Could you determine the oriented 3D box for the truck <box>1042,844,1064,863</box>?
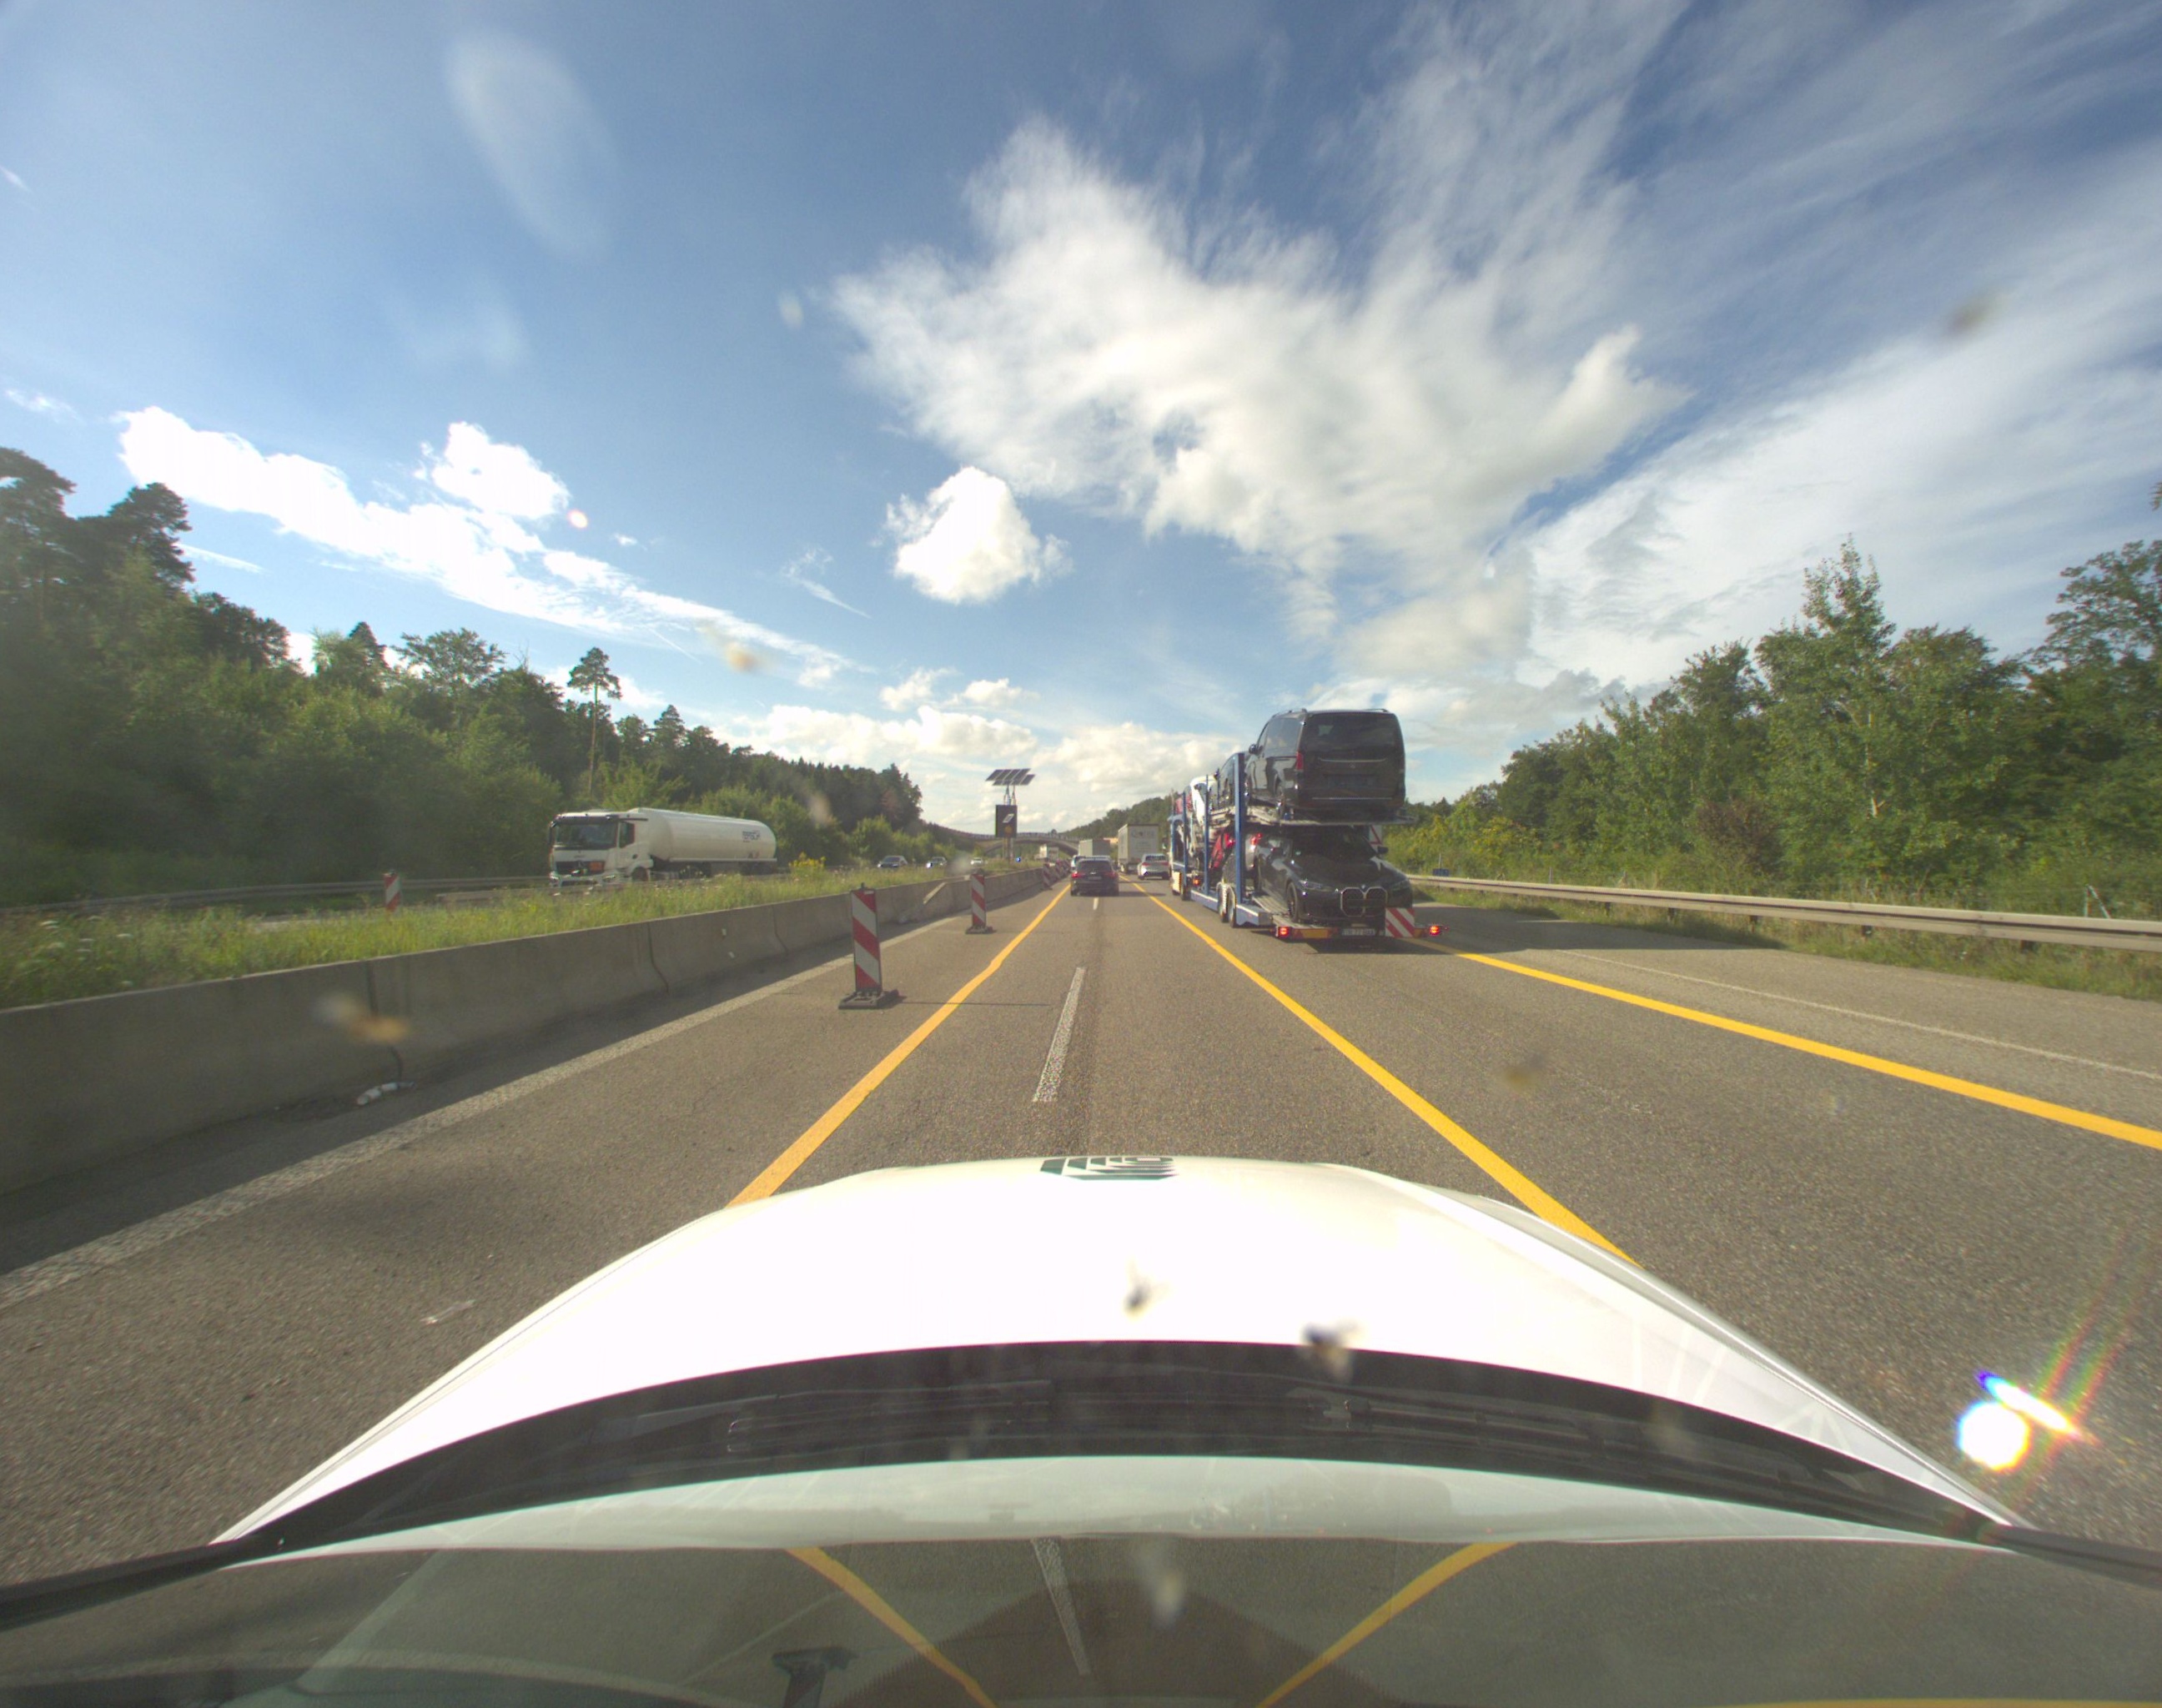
[{"bbox_3d":[-6.011,-0.162,173.483,3.651,3.928,11.038,0,0,-7],"label":"truck"}]

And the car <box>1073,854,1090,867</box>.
[{"bbox_3d":[0.045,0.802,104.216,1.886,1.643,4.013,0,0,-3],"label":"car"}]

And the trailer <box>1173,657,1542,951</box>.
[{"bbox_3d":[4.865,-0.677,19.766,3.713,4.196,16.229,0,0,1],"label":"trailer"}]

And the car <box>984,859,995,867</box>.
[{"bbox_3d":[-18.932,1.788,168.486,1.773,1.602,4.673,0,0,-2],"label":"car"}]

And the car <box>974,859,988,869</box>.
[{"bbox_3d":[-17.447,1.707,141.799,1.771,1.602,4.020,0,0,3],"label":"car"}]

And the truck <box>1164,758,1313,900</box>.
[{"bbox_3d":[5.074,-0.731,28.181,3.748,4.196,7.952,0,0,1],"label":"truck"}]

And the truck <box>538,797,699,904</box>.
[{"bbox_3d":[-16.315,-0.113,29.142,2.773,3.490,4.942,0,0,3],"label":"truck"}]

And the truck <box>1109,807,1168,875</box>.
[{"bbox_3d":[4.844,-0.974,72.890,3.667,5.353,16.189,0,0,-2],"label":"truck"}]

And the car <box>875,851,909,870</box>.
[{"bbox_3d":[-15.912,0.539,68.652,1.771,1.602,4.020,0,0,3],"label":"car"}]

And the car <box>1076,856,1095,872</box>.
[{"bbox_3d":[0.448,1.093,89.962,1.886,1.643,4.013,0,0,-3],"label":"car"}]

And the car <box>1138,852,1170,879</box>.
[{"bbox_3d":[4.622,0.708,51.988,1.882,1.643,4.020,0,0,3],"label":"car"}]

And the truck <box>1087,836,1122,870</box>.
[{"bbox_3d":[3.301,-0.114,118.403,4.309,4.600,11.113,0,0,-3],"label":"truck"}]

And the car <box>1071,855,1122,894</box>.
[{"bbox_3d":[0.674,0.780,32.122,1.882,1.446,4.003,0,0,3],"label":"car"}]

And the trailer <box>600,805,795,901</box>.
[{"bbox_3d":[-16.049,-0.006,35.444,2.791,3.489,11.119,0,0,2],"label":"trailer"}]

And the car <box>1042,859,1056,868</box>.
[{"bbox_3d":[-5.595,1.662,143.161,1.779,1.602,4.002,0,0,-11],"label":"car"}]

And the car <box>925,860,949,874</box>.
[{"bbox_3d":[-16.668,1.505,94.532,1.951,1.588,4.483,0,0,1],"label":"car"}]
